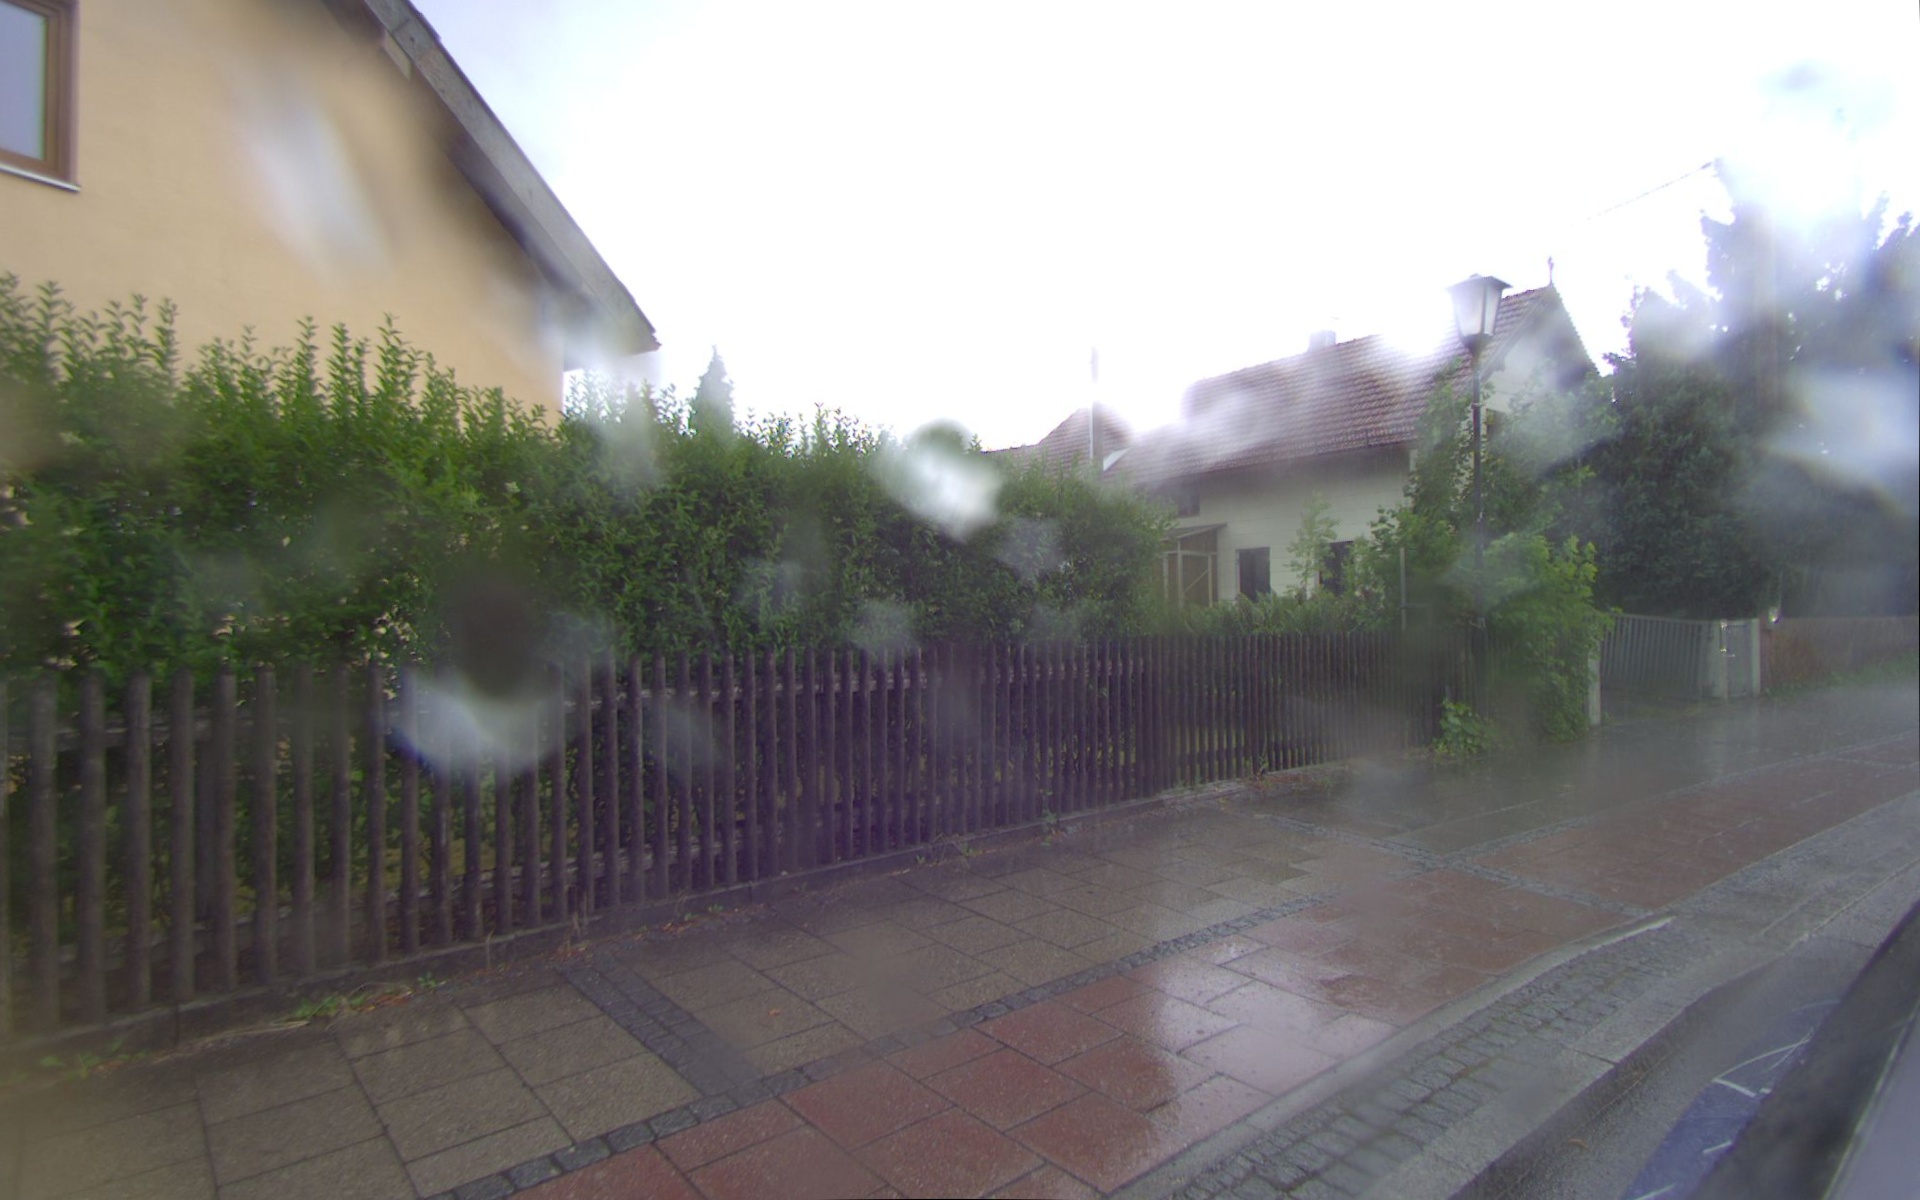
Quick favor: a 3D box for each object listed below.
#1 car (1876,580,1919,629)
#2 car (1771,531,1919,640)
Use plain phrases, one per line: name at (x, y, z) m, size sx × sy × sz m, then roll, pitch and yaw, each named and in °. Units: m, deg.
car at (30.432, 0.189, 30.181) m, size 1.798 × 1.438 × 4.438 m, roll -1°, pitch 3°, yaw -41°
car at (24.917, -0.399, 26.638) m, size 1.966 × 2.761 × 5.311 m, roll -1°, pitch 2°, yaw -42°
